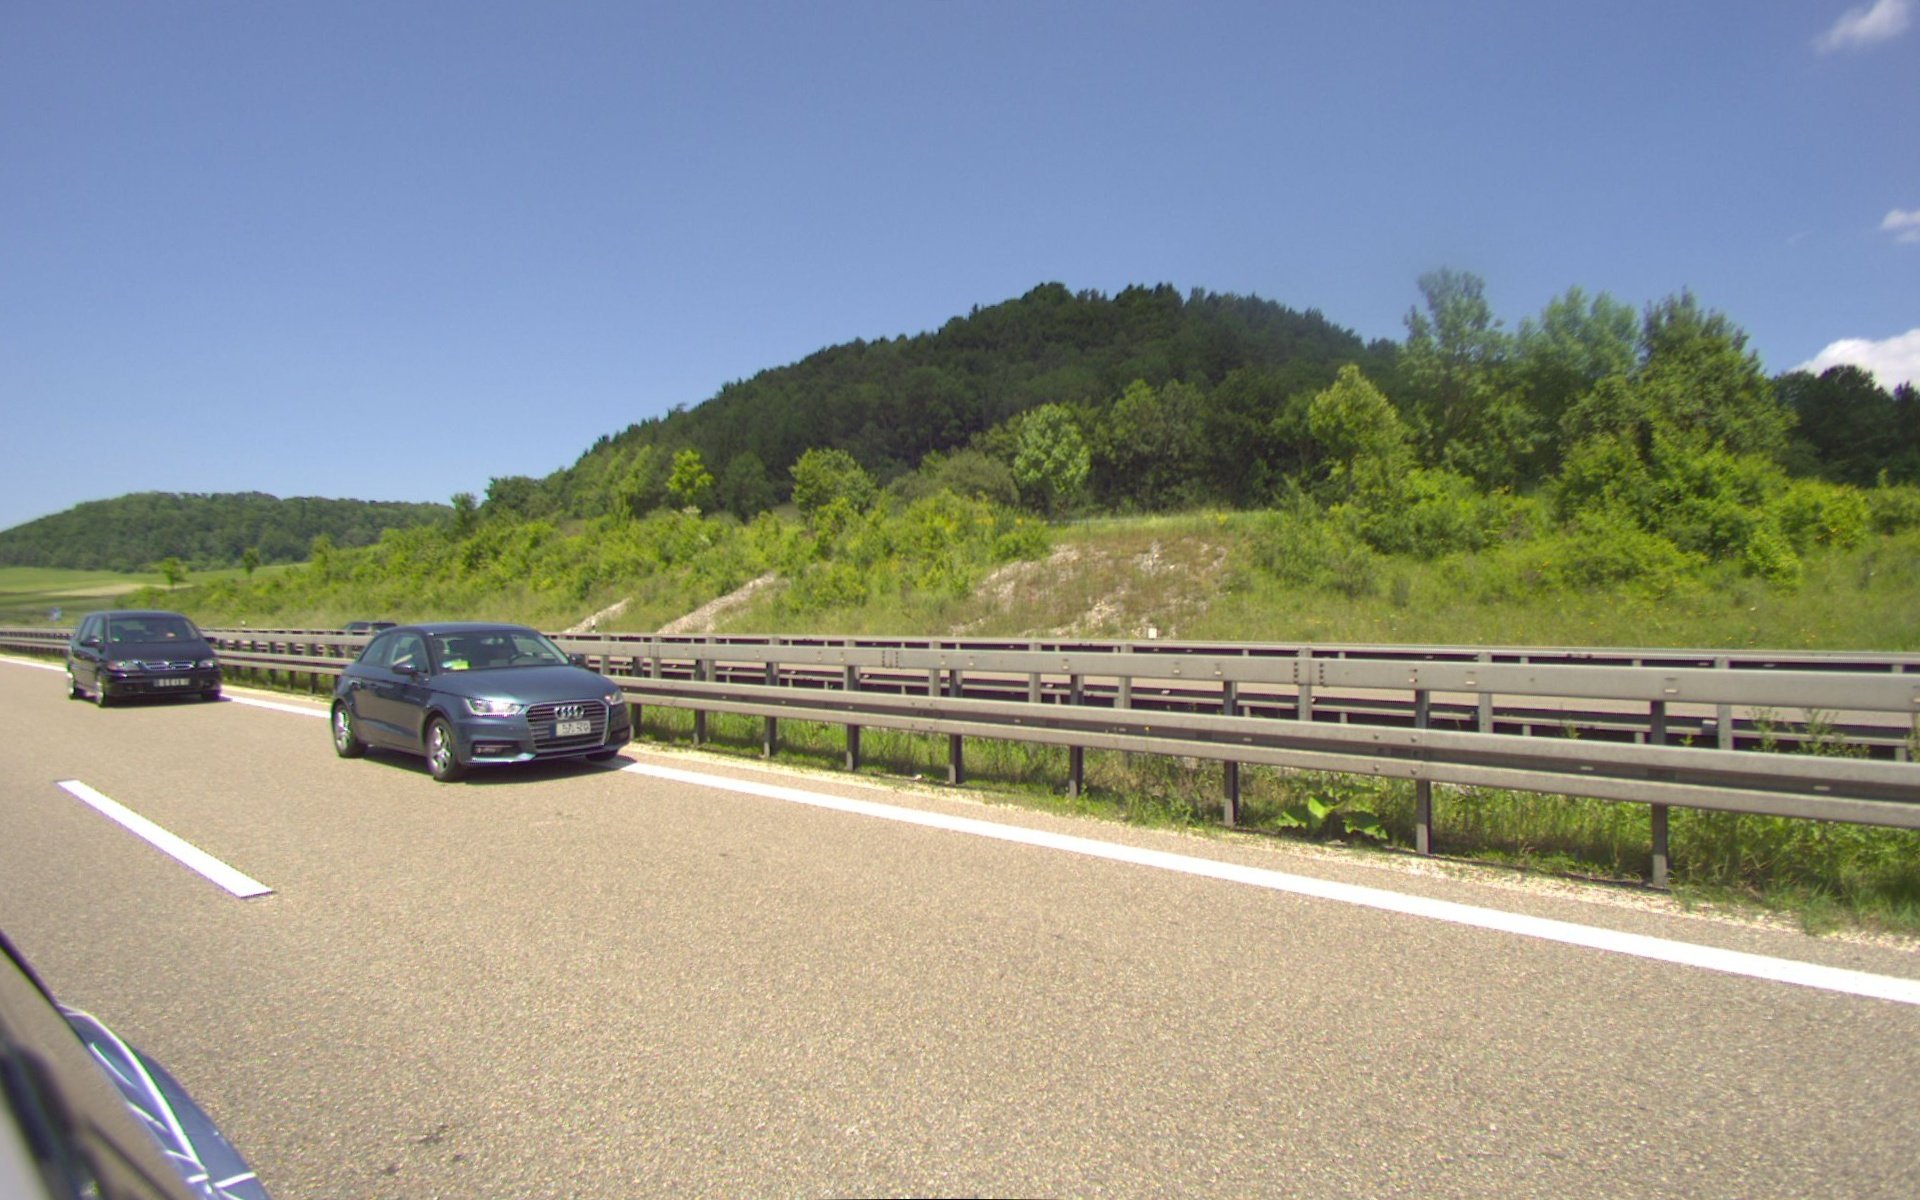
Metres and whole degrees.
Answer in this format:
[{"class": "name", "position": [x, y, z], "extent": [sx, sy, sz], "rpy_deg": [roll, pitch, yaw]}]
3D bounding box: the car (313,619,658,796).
[{"class": "car", "position": [-4.823, 0.901, 10.032], "extent": [3.999, 1.399, 1.671], "rpy_deg": [-1, -1, 42]}]

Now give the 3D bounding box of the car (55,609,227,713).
[{"class": "car", "position": [-14.775, 1.004, 18.171], "extent": [4.446, 1.647, 1.781], "rpy_deg": [-1, -1, 43]}]

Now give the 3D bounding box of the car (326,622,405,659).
[{"class": "car", "position": [-23.973, 1.606, 40.754], "extent": [3.739, 1.379, 1.673], "rpy_deg": [-1, -1, 41]}]
